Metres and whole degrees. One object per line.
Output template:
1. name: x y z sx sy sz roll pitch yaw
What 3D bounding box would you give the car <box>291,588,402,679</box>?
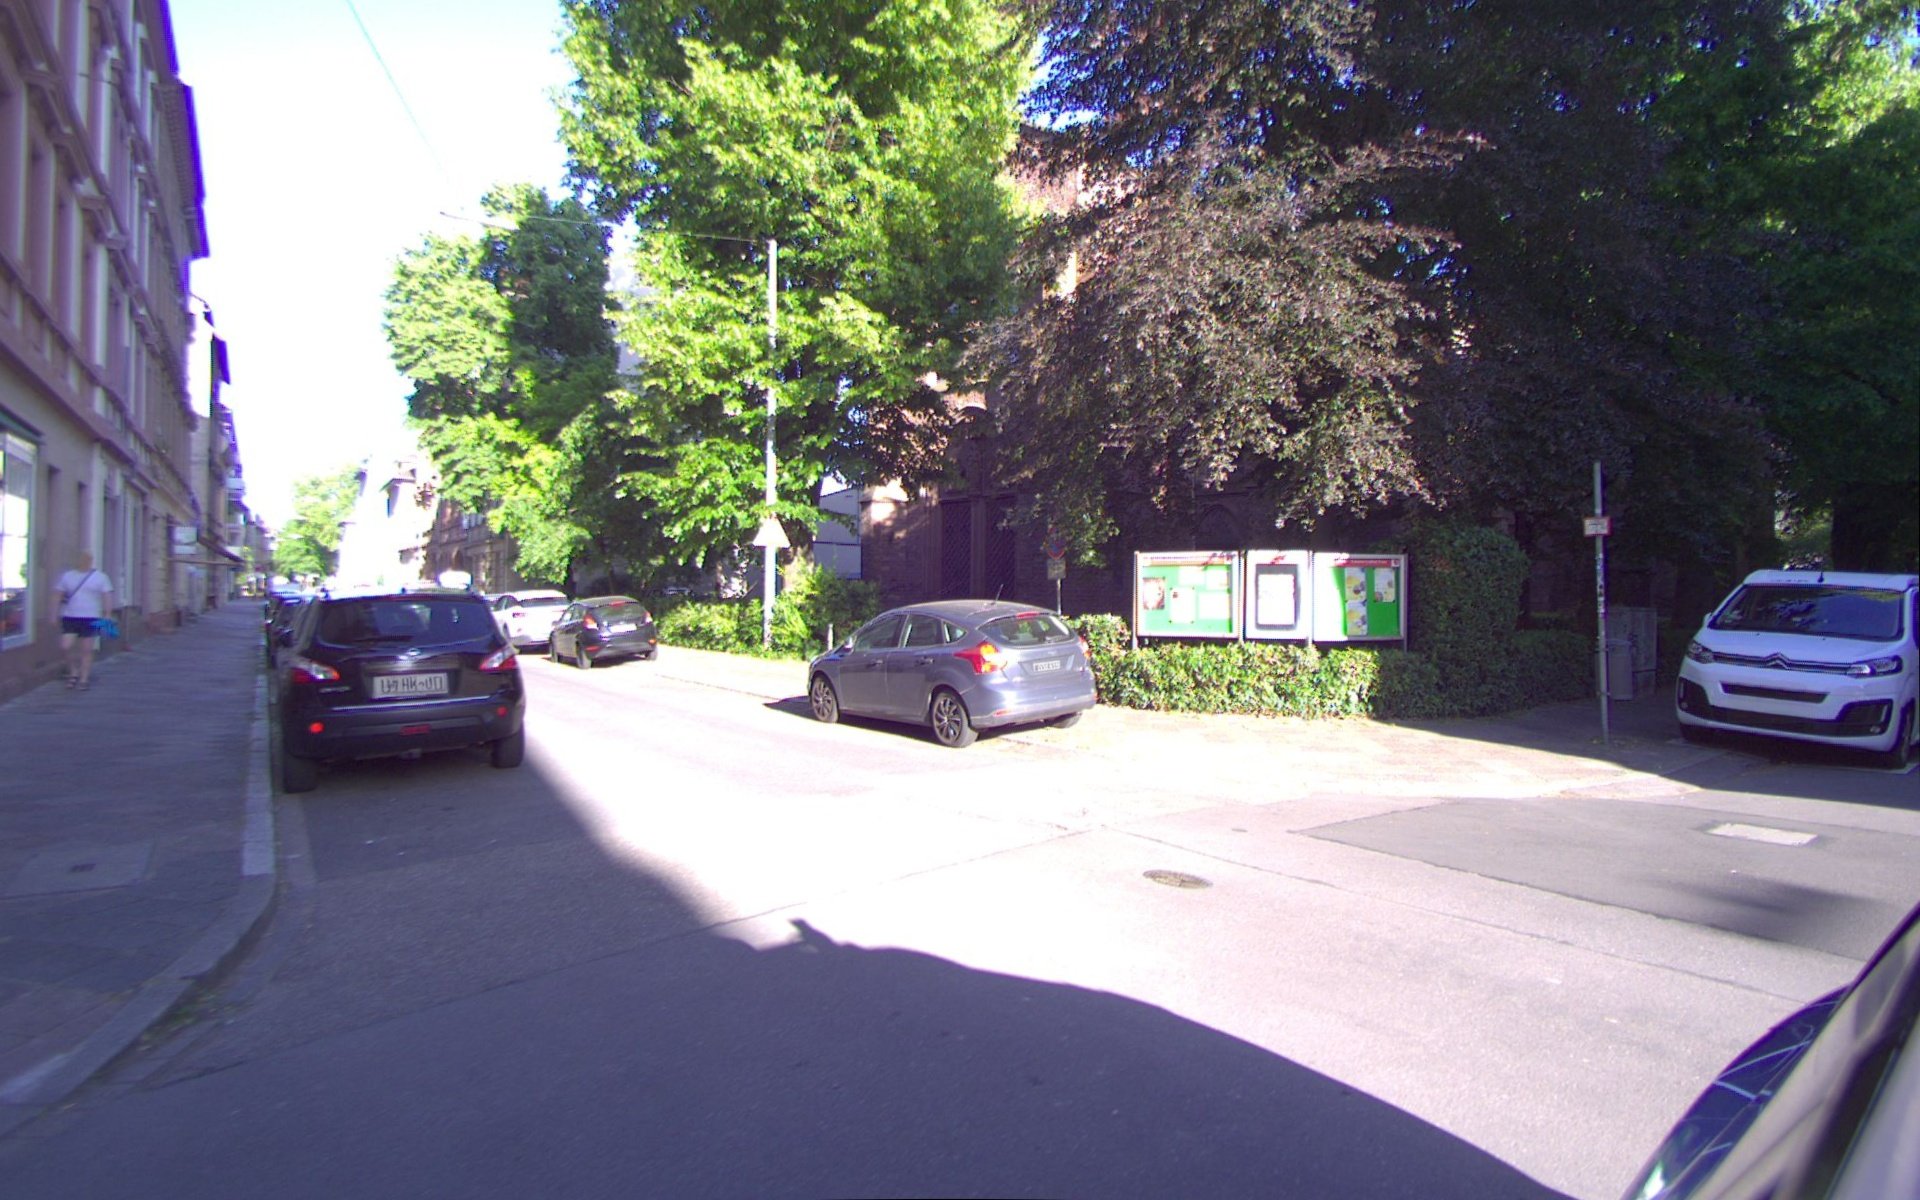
1. car: -11.466 0.544 18.837 1.602 1.491 3.543 -2 1 -33

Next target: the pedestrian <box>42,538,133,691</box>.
1. pedestrian: -11.512 0.199 13.376 0.786 1.945 0.716 4 -3 -41

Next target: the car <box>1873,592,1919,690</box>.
1. car: 18.135 0.744 18.552 4.195 1.622 1.742 -1 6 -45

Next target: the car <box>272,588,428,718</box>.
1. car: -8.459 0.616 13.958 1.602 1.491 3.869 -2 1 -33

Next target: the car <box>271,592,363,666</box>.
1. car: -14.445 0.584 22.727 1.602 1.491 3.702 -2 1 -33

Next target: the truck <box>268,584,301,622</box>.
1. truck: -41.568 0.149 62.305 1.602 2.243 4.366 -2 1 -34

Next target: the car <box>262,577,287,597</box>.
1. car: -55.647 -1.017 82.164 1.602 1.573 3.894 -2 1 -34

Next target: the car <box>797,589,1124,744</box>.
1. car: -0.152 0.636 11.865 1.766 1.457 3.928 -2 1 -38

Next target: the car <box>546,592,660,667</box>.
1. car: -8.106 0.602 22.819 1.602 1.491 3.543 -2 1 -33

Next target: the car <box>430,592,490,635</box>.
1. car: -18.894 0.470 38.167 1.602 1.491 3.543 -2 1 -33

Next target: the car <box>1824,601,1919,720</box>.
1. car: 14.213 0.829 15.015 3.764 1.591 1.721 1 0 -43

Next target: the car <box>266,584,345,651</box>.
1. car: -17.190 0.410 26.579 1.602 1.573 3.895 -2 1 -33

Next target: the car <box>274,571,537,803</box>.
1. car: -5.223 0.584 9.333 1.727 1.628 3.934 -2 1 -33

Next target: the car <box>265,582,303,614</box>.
1. car: -35.826 -0.119 53.638 1.602 1.573 3.894 -2 1 -34

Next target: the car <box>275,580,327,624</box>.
1. car: -25.573 0.058 39.225 1.602 1.573 3.894 -2 1 -34

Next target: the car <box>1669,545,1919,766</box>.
1. car: 10.038 0.497 11.519 4.704 2.023 1.920 1 2 -39

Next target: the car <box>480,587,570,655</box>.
1. car: -11.759 0.522 27.262 1.602 1.669 3.543 -2 1 -33

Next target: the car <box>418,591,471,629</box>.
1. car: -21.633 0.406 42.421 1.602 1.491 3.543 -2 1 -33

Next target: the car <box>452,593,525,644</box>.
1. car: -15.082 0.559 32.308 1.602 1.491 3.543 -2 1 -33
